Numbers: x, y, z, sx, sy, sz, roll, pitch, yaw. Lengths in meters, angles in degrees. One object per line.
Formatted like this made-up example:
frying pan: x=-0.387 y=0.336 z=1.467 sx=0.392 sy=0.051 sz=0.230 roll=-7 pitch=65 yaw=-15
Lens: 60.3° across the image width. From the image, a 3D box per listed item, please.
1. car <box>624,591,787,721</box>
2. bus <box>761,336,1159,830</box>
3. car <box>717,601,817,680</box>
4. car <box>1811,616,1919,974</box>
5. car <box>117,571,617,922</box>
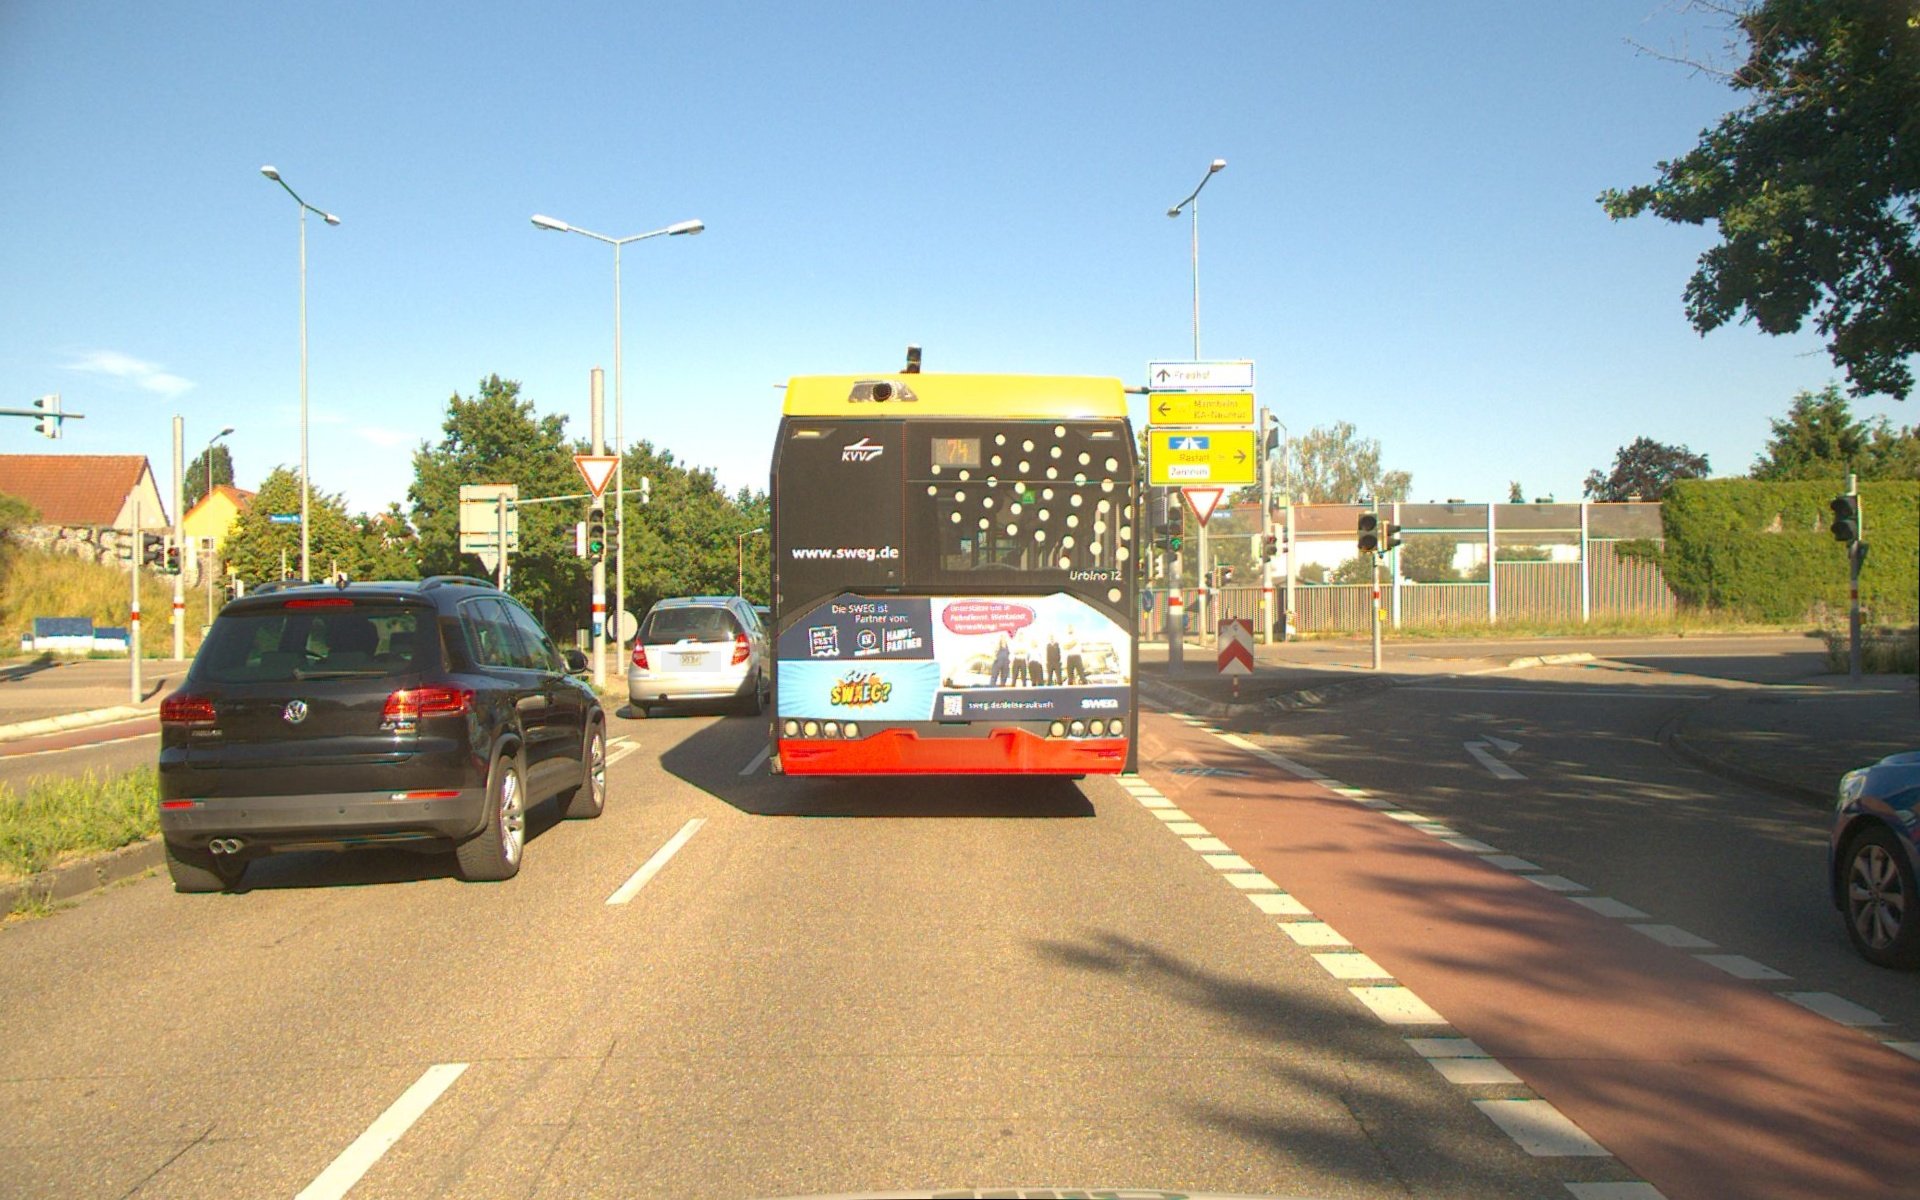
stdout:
car: x=-3.504 y=0.731 z=23.413 sx=1.725 sy=1.617 sz=3.999 roll=-2 pitch=0 yaw=-1
bus: x=-0.033 y=-0.127 z=16.774 sx=2.588 sy=3.222 sz=11.859 roll=0 pitch=0 yaw=0
car: x=-3.953 y=0.799 z=34.335 sx=1.658 sy=1.484 sz=3.749 roll=-2 pitch=0 yaw=-1
car: x=4.816 y=0.823 z=5.870 sx=1.615 sy=1.494 sz=3.941 roll=0 pitch=0 yaw=1
car: x=-3.377 y=0.737 z=10.275 sx=1.736 sy=1.682 sz=3.998 roll=-2 pitch=0 yaw=-2
